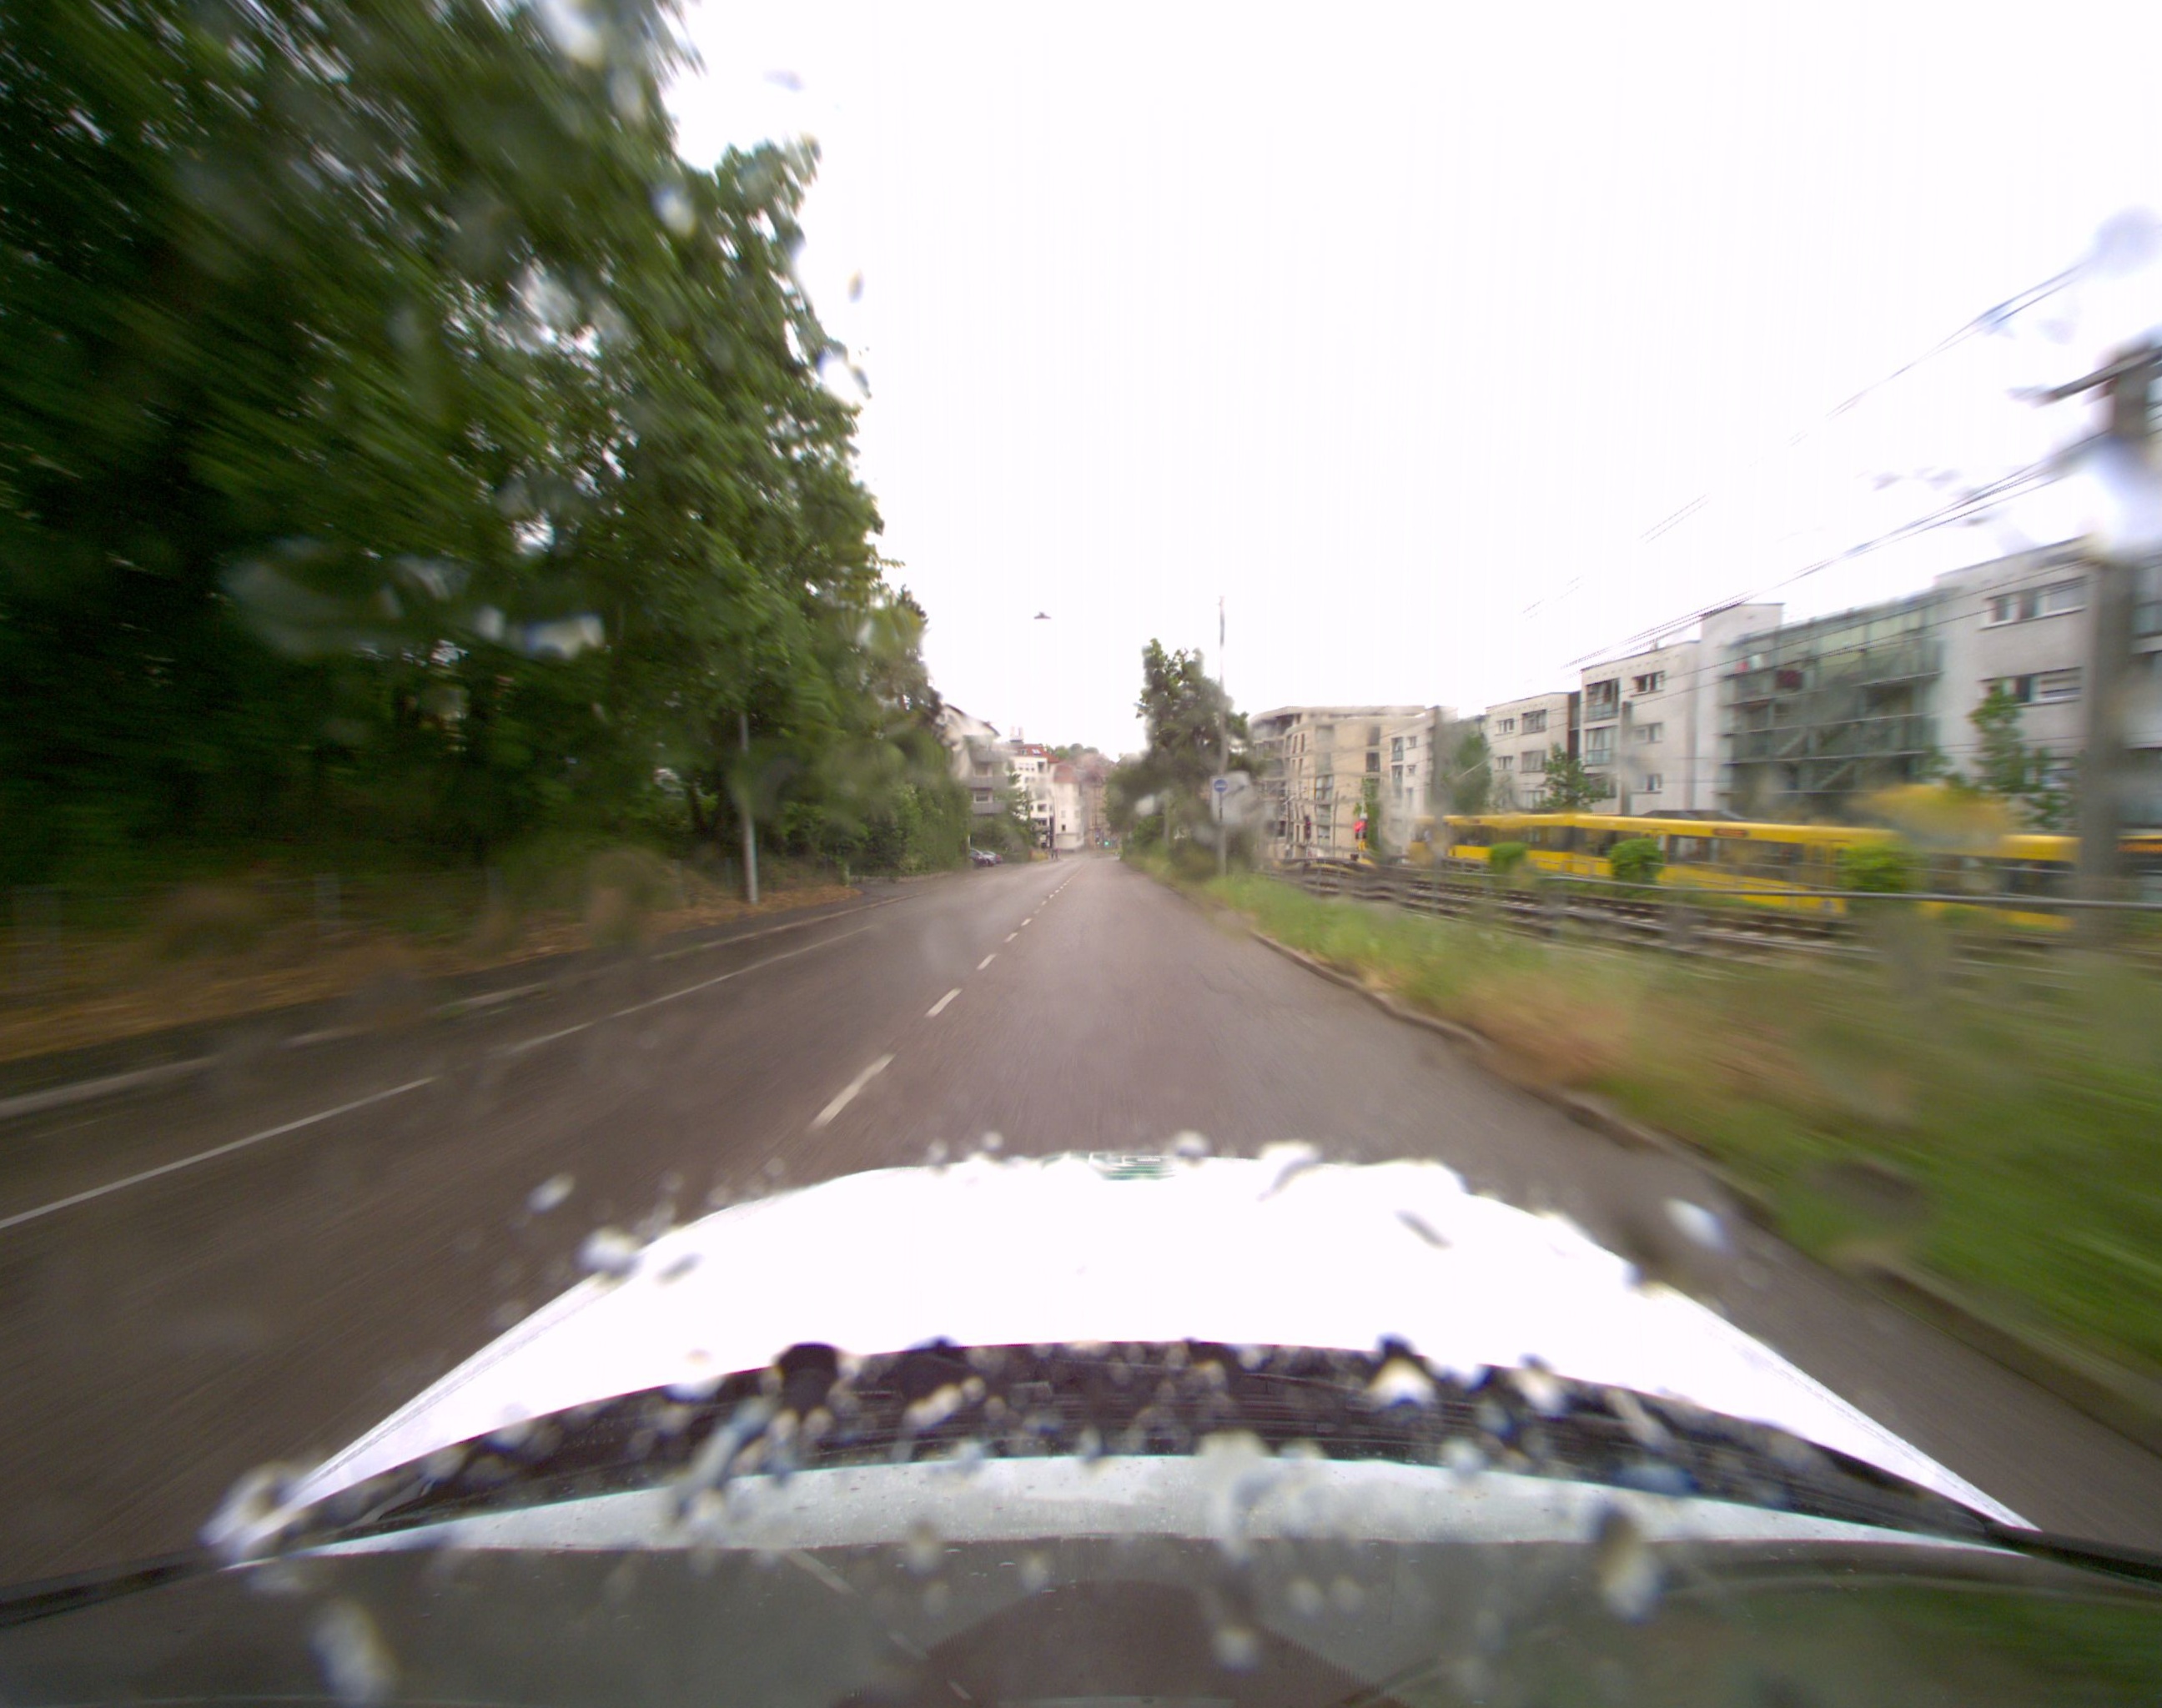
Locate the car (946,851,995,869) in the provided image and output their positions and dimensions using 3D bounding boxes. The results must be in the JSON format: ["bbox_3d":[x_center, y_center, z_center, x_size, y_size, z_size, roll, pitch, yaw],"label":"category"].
[{"bbox_3d":[-9.436,0.518,69.704,3.978,1.559,1.878,0,0,-3],"label":"car"}]

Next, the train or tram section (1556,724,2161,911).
[{"bbox_3d":[22.756,-0.837,26.864,3.318,3.947,19.286,0,0,1],"label":"train or tram section"}]

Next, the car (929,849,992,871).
[{"bbox_3d":[-9.115,0.445,61.870,4.434,1.602,1.814,0,1,0],"label":"car"}]

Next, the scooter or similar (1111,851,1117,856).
[{"bbox_3d":[5.946,-0.108,145.246,0.480,0.761,1.338,-1,0,29],"label":"scooter or similar"}]

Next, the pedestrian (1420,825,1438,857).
[{"bbox_3d":[21.173,-0.789,49.508,0.719,1.880,0.817,-1,-1,1],"label":"pedestrian"}]

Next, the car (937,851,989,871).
[{"bbox_3d":[-8.529,0.510,59.038,3.626,1.405,1.713,0,0,-6],"label":"car"}]

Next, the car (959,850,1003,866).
[{"bbox_3d":[-8.791,0.352,71.828,3.616,1.407,1.785,0,0,3],"label":"car"}]

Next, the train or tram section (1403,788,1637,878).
[{"bbox_3d":[23.187,-0.975,45.480,3.318,3.947,18.818,0,0,1],"label":"train or tram section"}]
